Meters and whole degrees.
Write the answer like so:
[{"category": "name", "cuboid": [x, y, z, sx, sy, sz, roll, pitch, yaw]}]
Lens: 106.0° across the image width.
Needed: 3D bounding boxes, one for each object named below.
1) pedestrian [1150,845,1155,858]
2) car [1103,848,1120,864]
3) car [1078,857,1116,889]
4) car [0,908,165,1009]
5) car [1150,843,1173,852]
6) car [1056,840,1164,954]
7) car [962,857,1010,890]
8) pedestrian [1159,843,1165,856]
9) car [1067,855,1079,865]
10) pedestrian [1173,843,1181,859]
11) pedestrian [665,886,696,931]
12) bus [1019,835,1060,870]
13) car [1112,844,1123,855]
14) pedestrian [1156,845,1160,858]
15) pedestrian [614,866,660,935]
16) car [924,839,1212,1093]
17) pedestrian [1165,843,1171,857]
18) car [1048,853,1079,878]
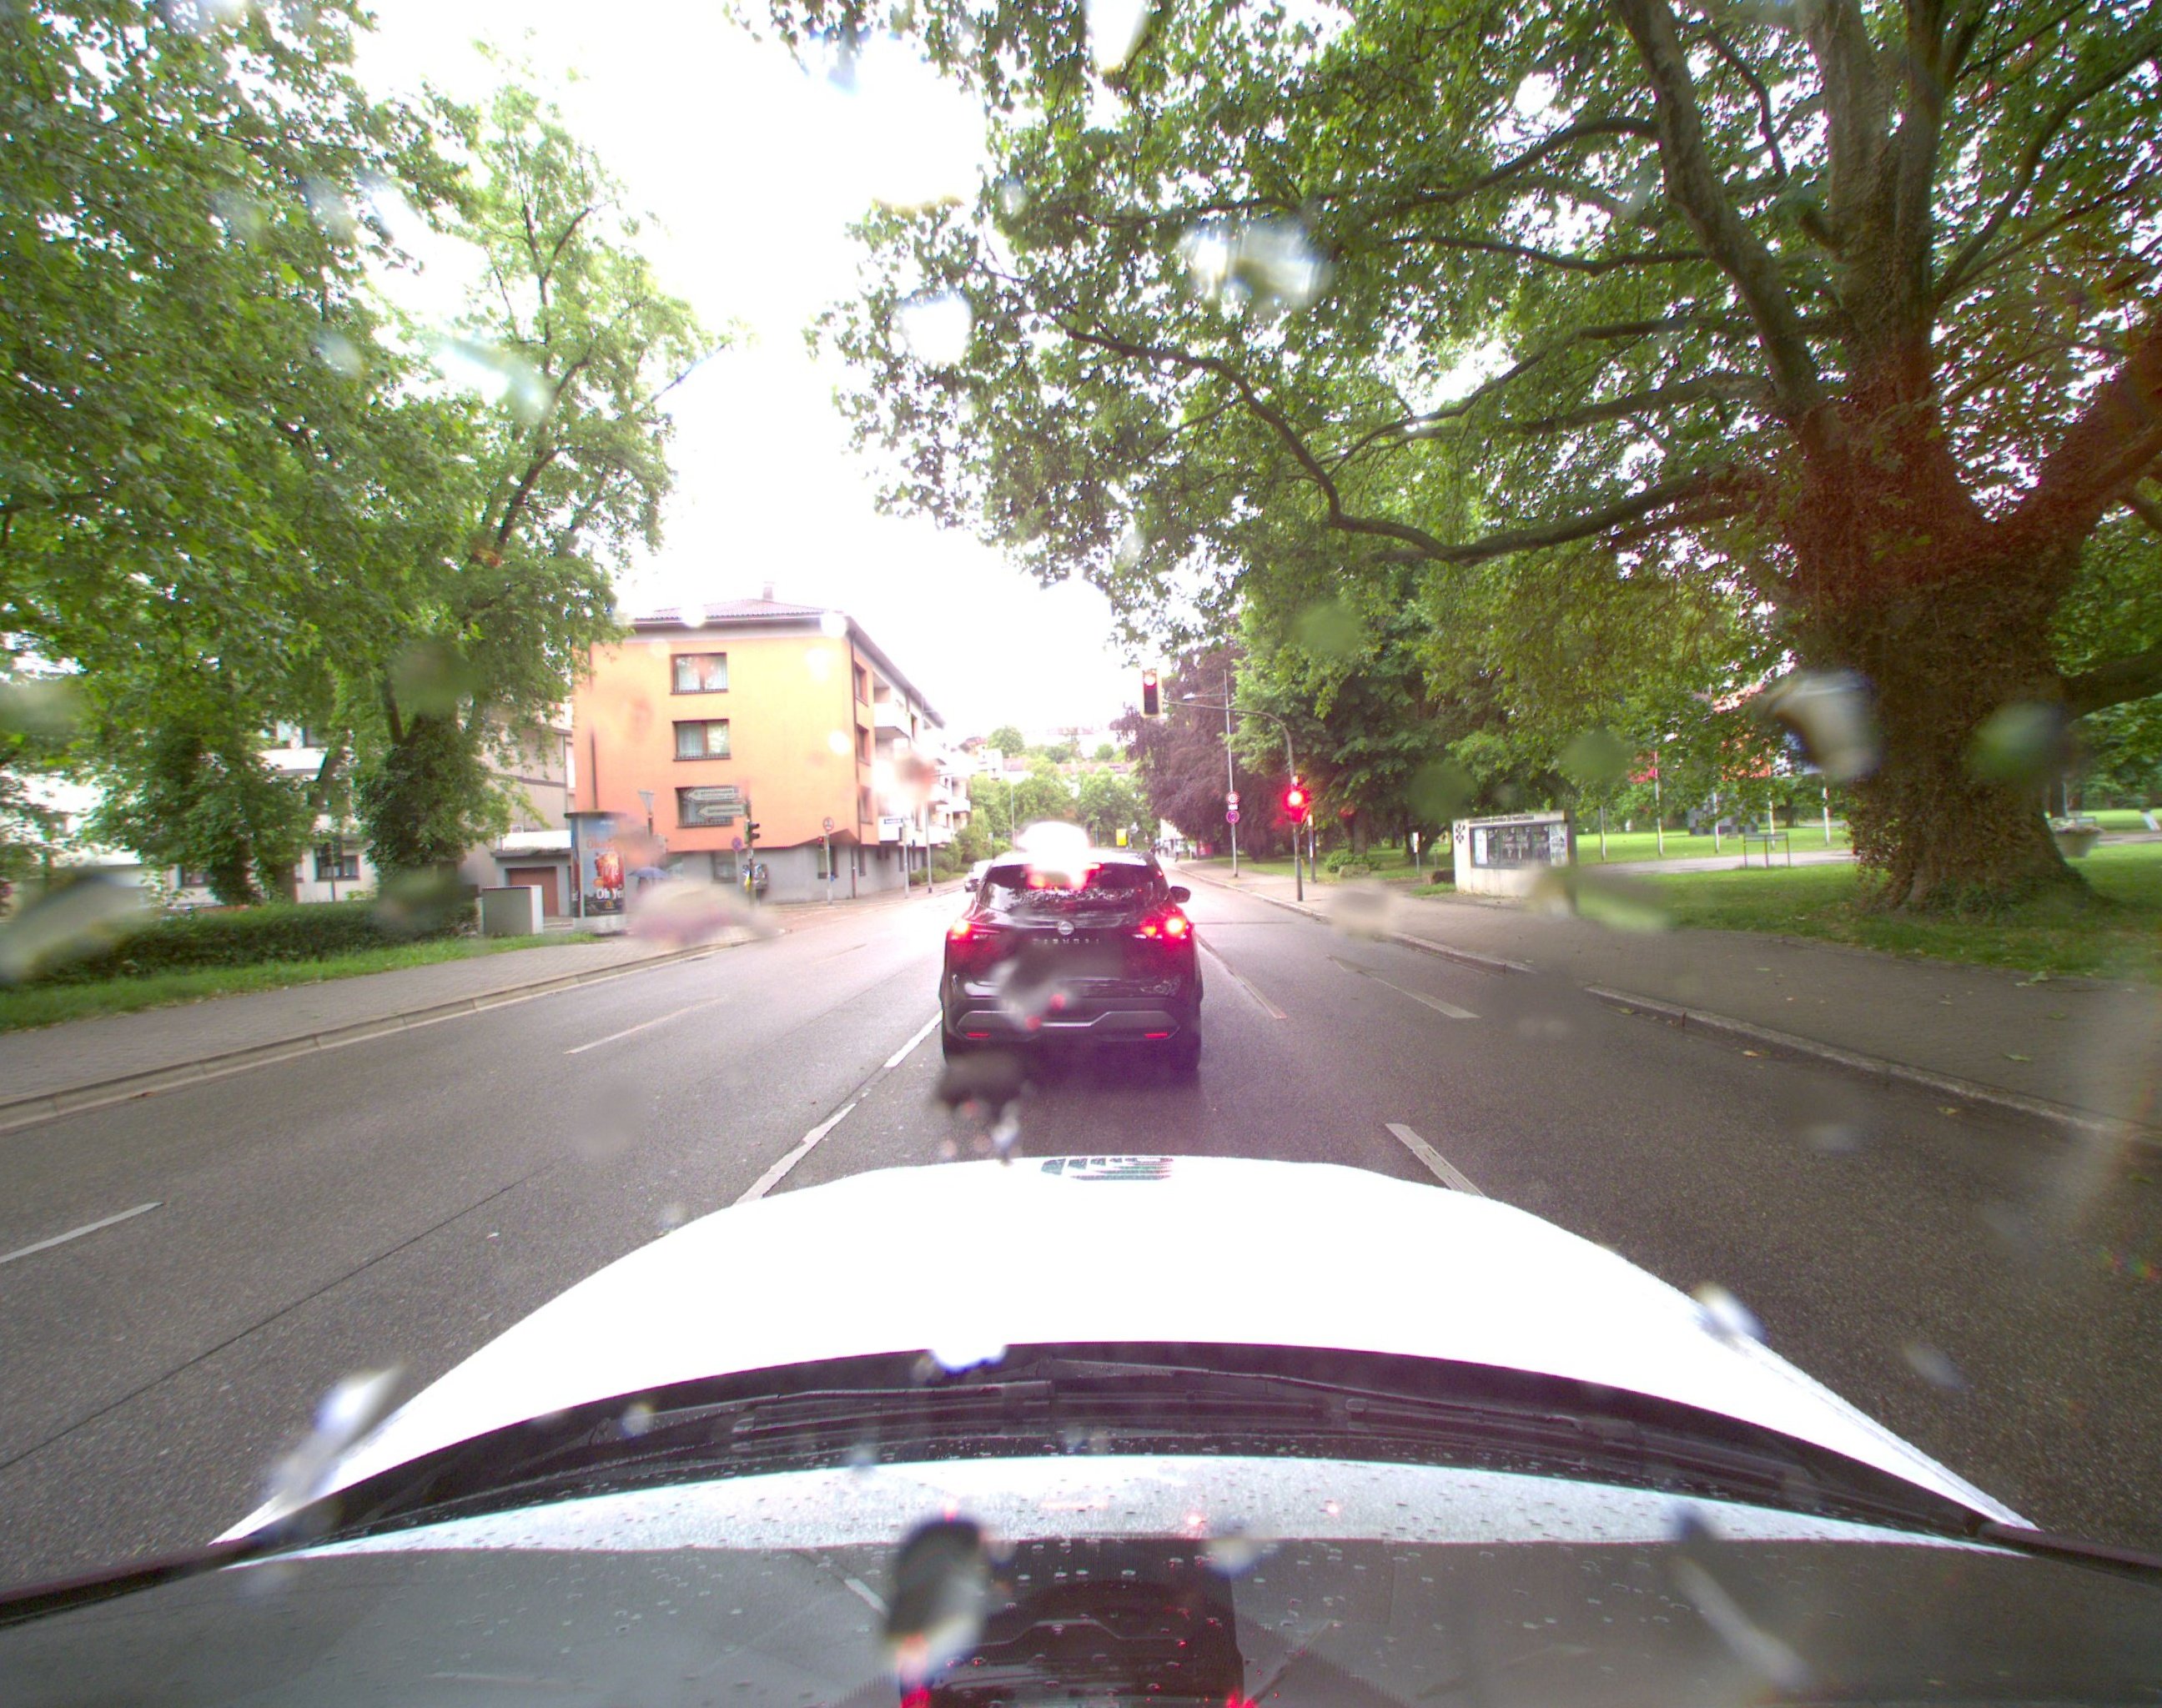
[{"category": "pedestrian", "cuboid": [9.216, -0.337, 105.273, 0.542, 1.651, 0.490, 0, -1, 2]}, {"category": "car", "cuboid": [3.136, 0.197, 82.761, 1.618, 1.415, 3.456, -3, 0, 2]}, {"category": "car", "cuboid": [0.794, 0.916, 41.075, 1.802, 1.417, 4.031, -2, 0, 1]}, {"category": "car", "cuboid": [-18.007, 1.736, 13.802, 3.182, 1.524, 1.507, 0, -1, -1]}, {"category": "car", "cuboid": [16.145, -1.318, 163.469, 3.986, 1.684, 1.994, -3, 0, -9]}, {"category": "car", "cuboid": [0.573, 0.672, 14.772, 1.615, 1.709, 3.774, -3, 0, 3]}, {"category": "car", "cuboid": [-4.748, 0.963, 41.190, 1.802, 1.417, 4.031, -4, 0, 1]}, {"category": "pedestrian", "cuboid": [10.452, -0.532, 105.442, 0.696, 1.651, 0.628, 0, -1, 2]}, {"category": "car", "cuboid": [-1.307, 0.945, 133.785, 1.671, 1.469, 4.217, -4, 0, 1]}, {"category": "pedestrian", "cuboid": [10.344, -0.318, 87.733, 0.616, 1.779, 0.779, -3, 0, 1]}, {"category": "pedestrian", "cuboid": [-11.143, 1.495, 22.660, 0.688, 1.175, 0.818, 0, 0, -31]}, {"category": "bus", "cuboid": [-3.815, -0.117, 77.045, 2.756, 2.974, 11.786, -3, 0, 2]}, {"category": "car", "cuboid": [6.153, -0.756, 136.614, 1.743, 1.633, 3.636, -3, 0, 2]}, {"category": "pedestrian", "cuboid": [9.856, -0.328, 103.935, 0.513, 1.655, 0.550, 0, -1, 1]}, {"category": "pedestrian", "cuboid": [-11.797, 1.191, 21.625, 0.998, 1.742, 1.197, 0, 0, -31]}, {"category": "car", "cuboid": [-0.021, 0.721, 7.125, 1.799, 1.590, 4.001, 0, -1, 2]}, {"category": "pedestrian", "cuboid": [11.399, -0.539, 106.425, 0.616, 1.779, 0.551, -3, 0, 1]}, {"category": "car", "cuboid": [-1.080, 0.705, 51.649, 1.618, 1.415, 3.456, -3, 0, 2]}]
